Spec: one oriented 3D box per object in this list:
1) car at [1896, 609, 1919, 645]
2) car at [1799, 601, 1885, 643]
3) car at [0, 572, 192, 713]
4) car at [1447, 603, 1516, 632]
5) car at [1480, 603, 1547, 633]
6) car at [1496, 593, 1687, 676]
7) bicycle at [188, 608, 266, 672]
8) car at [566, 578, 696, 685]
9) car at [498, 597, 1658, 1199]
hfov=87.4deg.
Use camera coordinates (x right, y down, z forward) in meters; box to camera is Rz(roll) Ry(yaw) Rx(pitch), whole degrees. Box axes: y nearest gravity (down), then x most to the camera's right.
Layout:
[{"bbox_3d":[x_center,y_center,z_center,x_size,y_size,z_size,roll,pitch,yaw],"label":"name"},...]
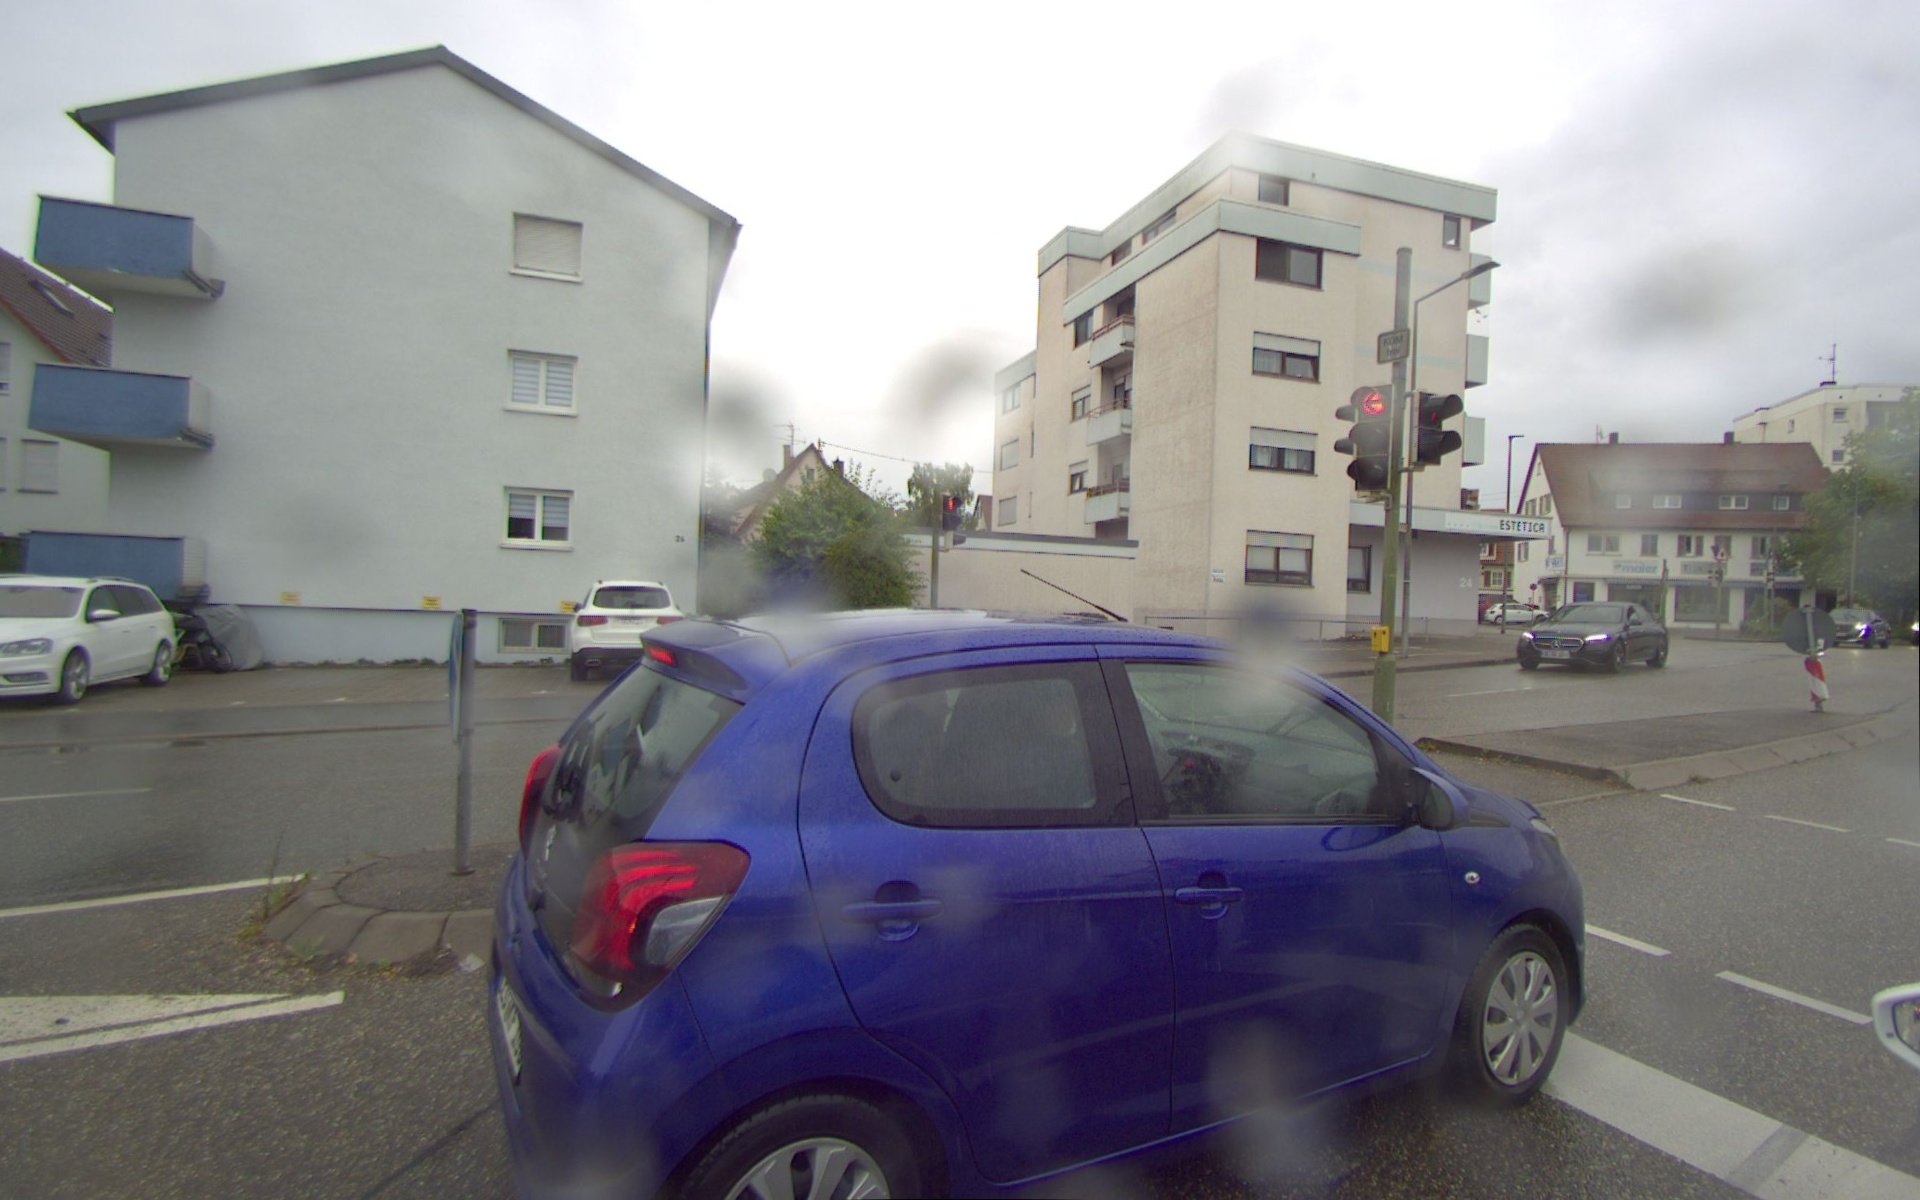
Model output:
[{"bbox_3d":[45.527,1.291,46.751,4.138,1.618,1.869,2,0,-32],"label":"car"},{"bbox_3d":[34.998,0.883,39.831,3.967,1.532,1.950,2,0,-40],"label":"car"},{"bbox_3d":[-11.479,0.450,12.503,1.854,1.480,4.732,1,-1,-23],"label":"car"},{"bbox_3d":[37.213,1.234,71.725,3.987,1.868,1.889,2,0,14],"label":"car"},{"bbox_3d":[37.920,1.229,68.895,3.611,1.946,1.889,2,0,14],"label":"car"},{"bbox_3d":[14.001,0.737,22.211,4.494,1.646,1.980,2,0,-35],"label":"car"},{"bbox_3d":[-12.693,0.682,17.418,1.053,1.067,0.345,0,1,-30],"label":"bicycle"},{"bbox_3d":[-5.762,0.503,17.573,1.884,1.637,3.982,2,0,-19],"label":"car"},{"bbox_3d":[0.471,0.741,3.098,3.324,1.432,1.498,1,1,-30],"label":"car"}]
